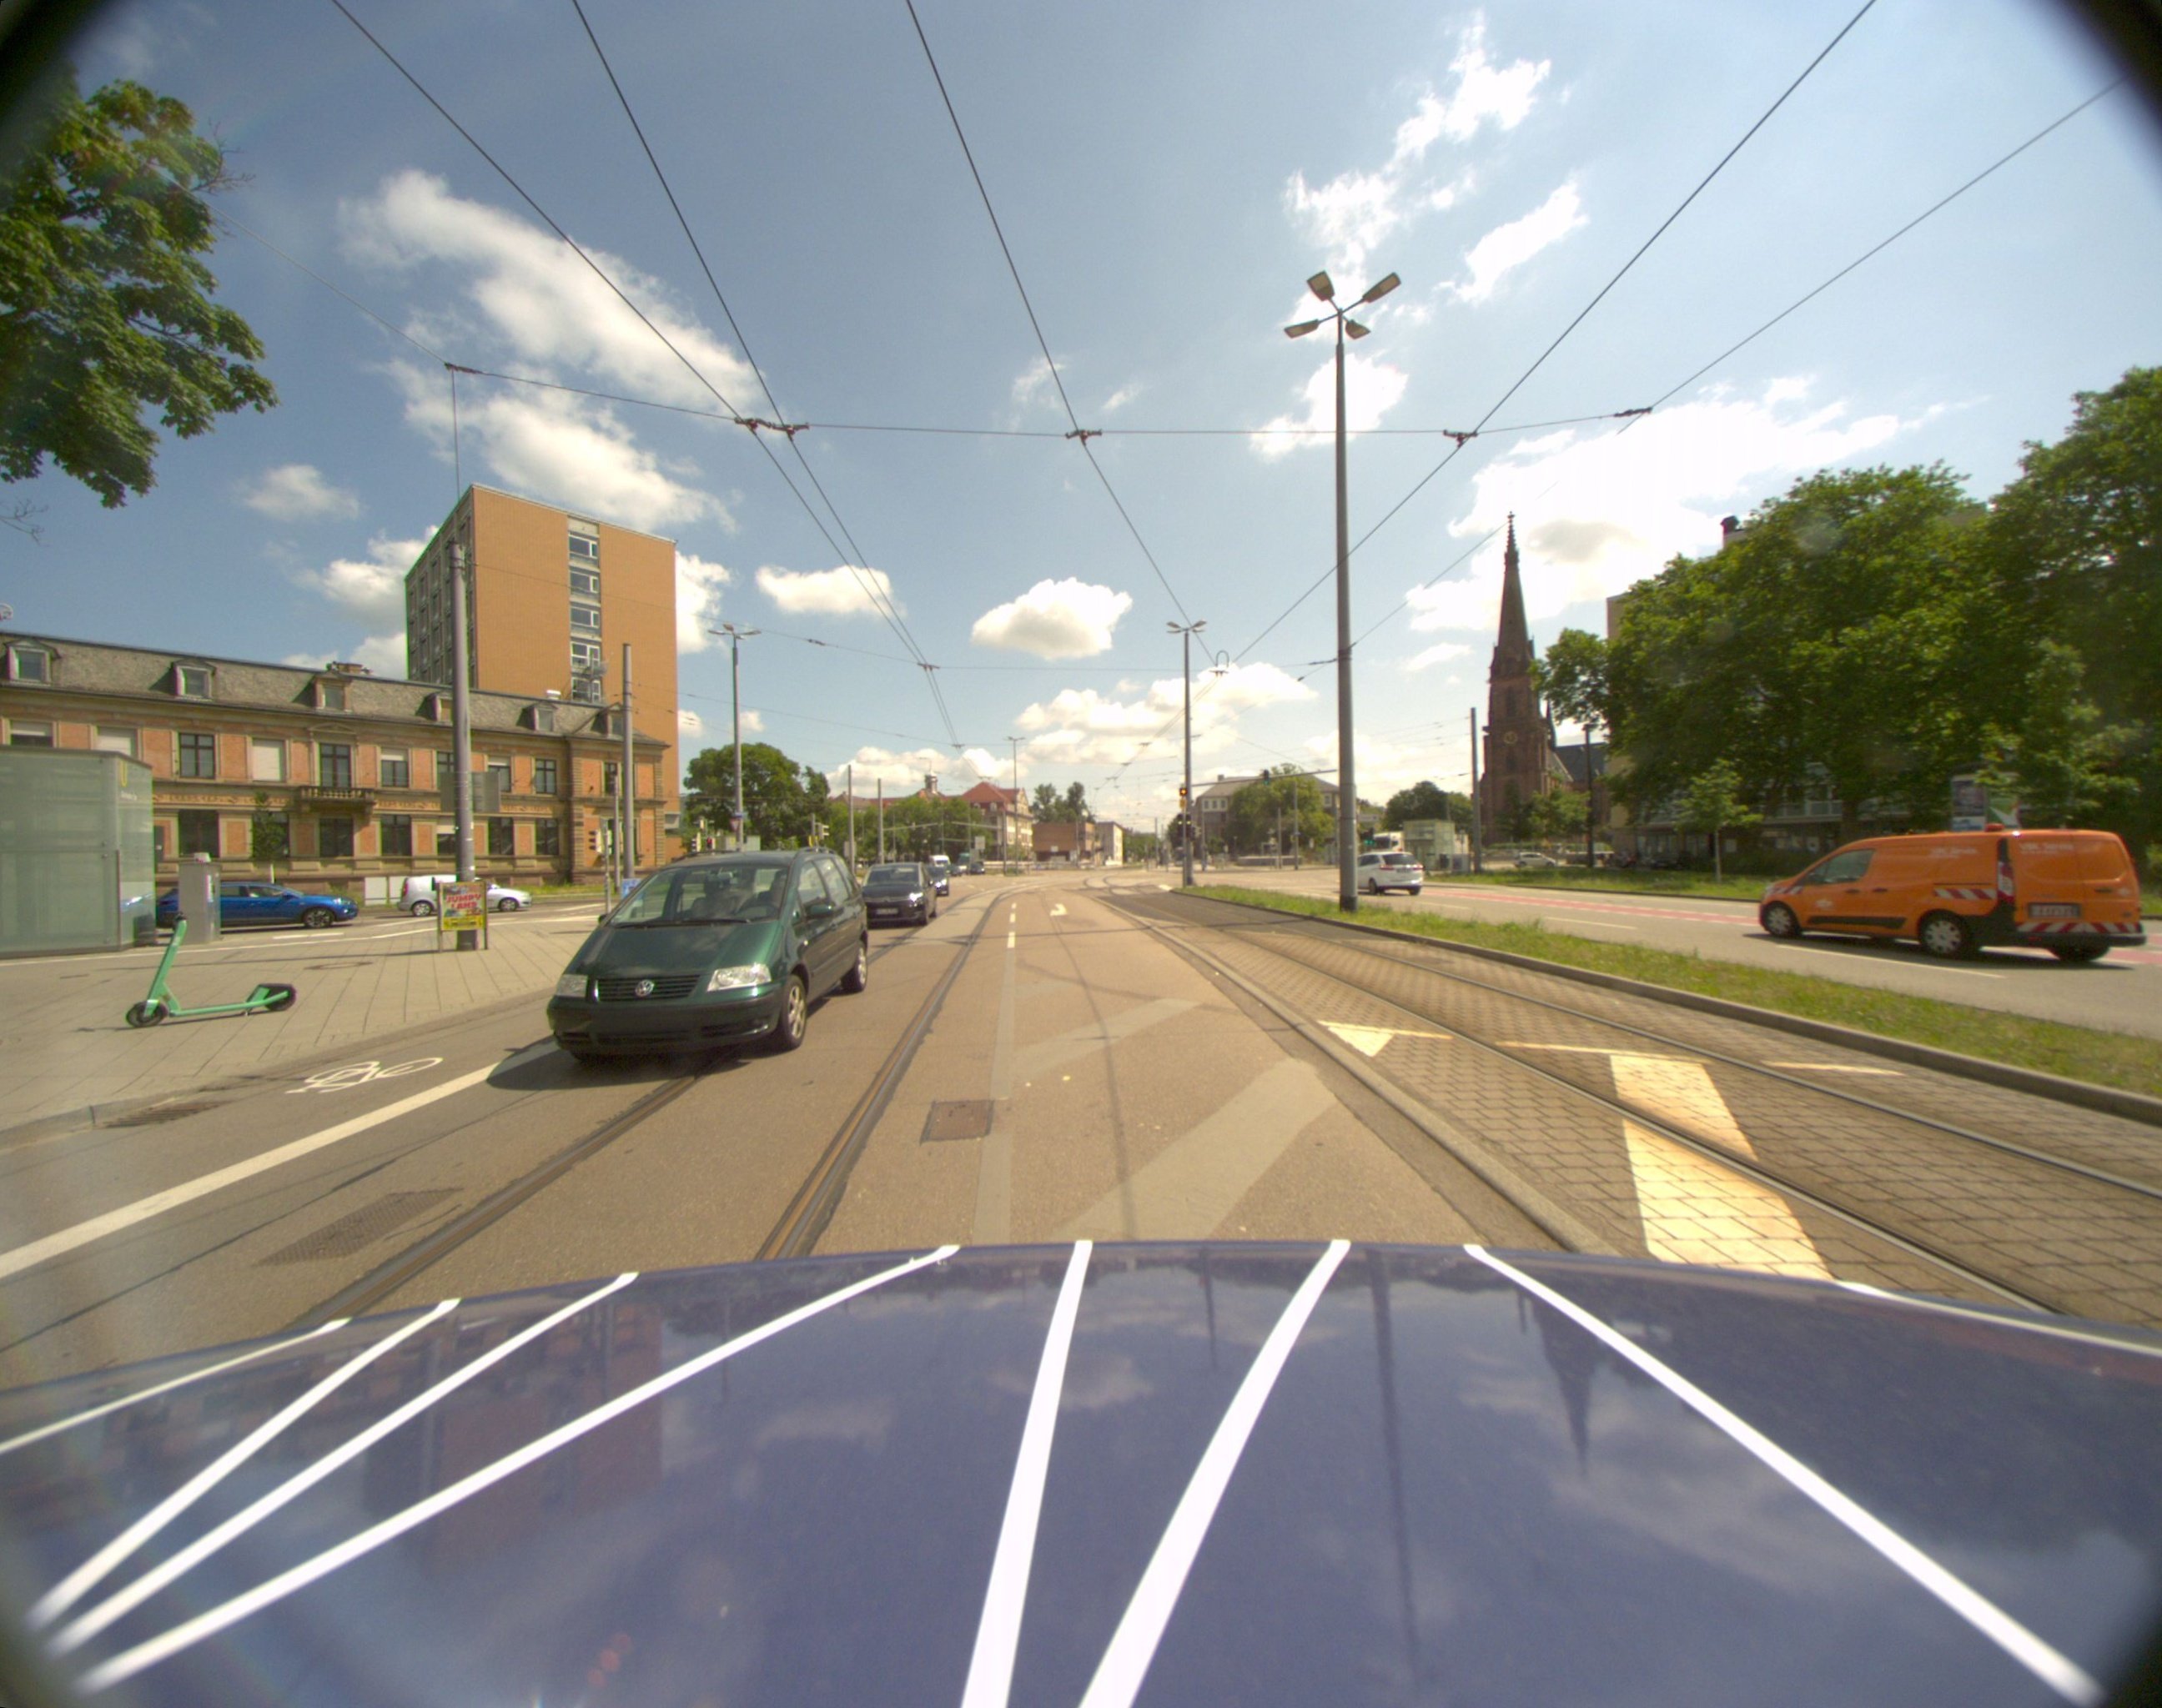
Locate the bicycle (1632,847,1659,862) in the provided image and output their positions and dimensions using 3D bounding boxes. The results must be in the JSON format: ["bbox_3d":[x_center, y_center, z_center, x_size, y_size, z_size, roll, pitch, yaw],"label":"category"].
[{"bbox_3d":[44.059,0.059,59.291,0.494,1.161,1.598,-2,0,-35],"label":"bicycle"}]

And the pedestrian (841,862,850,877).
[{"bbox_3d":[-24.844,1.671,80.046,0.831,1.576,0.767,-1,0,-15],"label":"pedestrian"}]

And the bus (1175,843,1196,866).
[{"bbox_3d":[15.725,0.085,115.112,2.948,3.427,7.952,-1,0,7],"label":"bus"}]

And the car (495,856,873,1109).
[{"bbox_3d":[-3.400,0.917,7.519,1.820,1.707,4.083,-2,0,-5],"label":"car"}]

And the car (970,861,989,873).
[{"bbox_3d":[-12.237,1.526,91.358,1.673,1.368,3.911,-1,-1,-15],"label":"car"}]

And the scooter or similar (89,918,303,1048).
[{"bbox_3d":[-9.221,1.309,7.982,0.950,1.173,1.086,0,1,2],"label":"scooter or similar"}]

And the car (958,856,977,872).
[{"bbox_3d":[-14.812,1.251,98.746,1.817,2.002,3.994,-1,0,-17],"label":"car"}]

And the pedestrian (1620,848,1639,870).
[{"bbox_3d":[40.107,0.367,55.582,0.725,1.551,0.878,-1,0,-27],"label":"pedestrian"}]

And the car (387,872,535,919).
[{"bbox_3d":[-24.636,1.590,30.296,4.435,1.578,1.869,-1,0,-43],"label":"car"}]

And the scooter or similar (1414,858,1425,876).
[{"bbox_3d":[21.778,0.838,48.874,0.462,1.193,0.549,-1,0,-5],"label":"scooter or similar"}]

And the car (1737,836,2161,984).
[{"bbox_3d":[12.906,0.709,11.757,1.915,1.855,4.369,0,0,4],"label":"car"}]

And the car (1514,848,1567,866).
[{"bbox_3d":[45.021,0.312,74.555,4.165,1.633,1.631,-1,0,14],"label":"car"}]

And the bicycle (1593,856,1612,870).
[{"bbox_3d":[44.478,0.759,64.806,0.460,1.139,1.270,-1,0,-39],"label":"bicycle"}]

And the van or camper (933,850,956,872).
[{"bbox_3d":[-17.627,0.914,97.820,2.234,2.719,5.514,-1,0,-17],"label":"van or camper"}]

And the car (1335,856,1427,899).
[{"bbox_3d":[11.772,0.863,30.183,1.771,1.594,4.492,0,0,-2],"label":"car"}]

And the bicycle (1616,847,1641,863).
[{"bbox_3d":[45.502,0.096,63.120,0.494,1.257,1.598,-2,0,-35],"label":"bicycle"}]

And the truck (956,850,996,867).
[{"bbox_3d":[-19.020,0.817,137.207,3.363,2.980,8.711,-1,0,-36],"label":"truck"}]

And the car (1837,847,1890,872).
[{"bbox_3d":[50.452,0.359,48.967,3.939,1.501,1.875,-1,-1,-37],"label":"car"}]

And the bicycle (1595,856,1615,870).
[{"bbox_3d":[44.942,0.759,65.154,0.460,1.139,1.270,-1,0,-39],"label":"bicycle"}]

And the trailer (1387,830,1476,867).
[{"bbox_3d":[40.674,-0.686,87.728,13.443,4.052,2.941,-1,0,-35],"label":"trailer"}]

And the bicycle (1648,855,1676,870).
[{"bbox_3d":[42.672,0.616,55.813,0.494,1.060,1.598,-2,0,-35],"label":"bicycle"}]

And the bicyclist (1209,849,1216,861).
[{"bbox_3d":[22.696,0.224,130.993,1.124,2.002,1.320,0,1,5],"label":"bicyclist"}]

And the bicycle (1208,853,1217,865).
[{"bbox_3d":[22.712,0.858,130.991,1.247,2.002,3.486,-1,0,5],"label":"bicycle"}]

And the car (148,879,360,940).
[{"bbox_3d":[-26.351,1.710,24.497,4.435,1.542,1.868,-1,2,-42],"label":"car"}]

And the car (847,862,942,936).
[{"bbox_3d":[-4.828,1.099,20.312,1.874,1.607,4.424,-3,0,-7],"label":"car"}]

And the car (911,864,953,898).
[{"bbox_3d":[-7.280,1.248,37.045,1.874,1.477,4.422,-1,0,-11],"label":"car"}]

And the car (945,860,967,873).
[{"bbox_3d":[-14.622,1.474,88.735,1.903,1.455,4.255,-1,0,-17],"label":"car"}]

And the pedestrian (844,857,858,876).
[{"bbox_3d":[-21.979,1.200,72.606,1.029,1.802,0.726,-2,1,-45],"label":"pedestrian"}]

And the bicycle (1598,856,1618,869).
[{"bbox_3d":[45.521,0.752,65.630,0.460,1.139,1.270,-1,0,-39],"label":"bicycle"}]

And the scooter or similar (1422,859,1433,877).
[{"bbox_3d":[22.374,0.888,49.099,0.416,1.118,0.556,-1,0,-5],"label":"scooter or similar"}]

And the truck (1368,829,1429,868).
[{"bbox_3d":[35.034,-0.606,83.775,6.891,4.094,2.956,-1,0,-35],"label":"truck"}]
